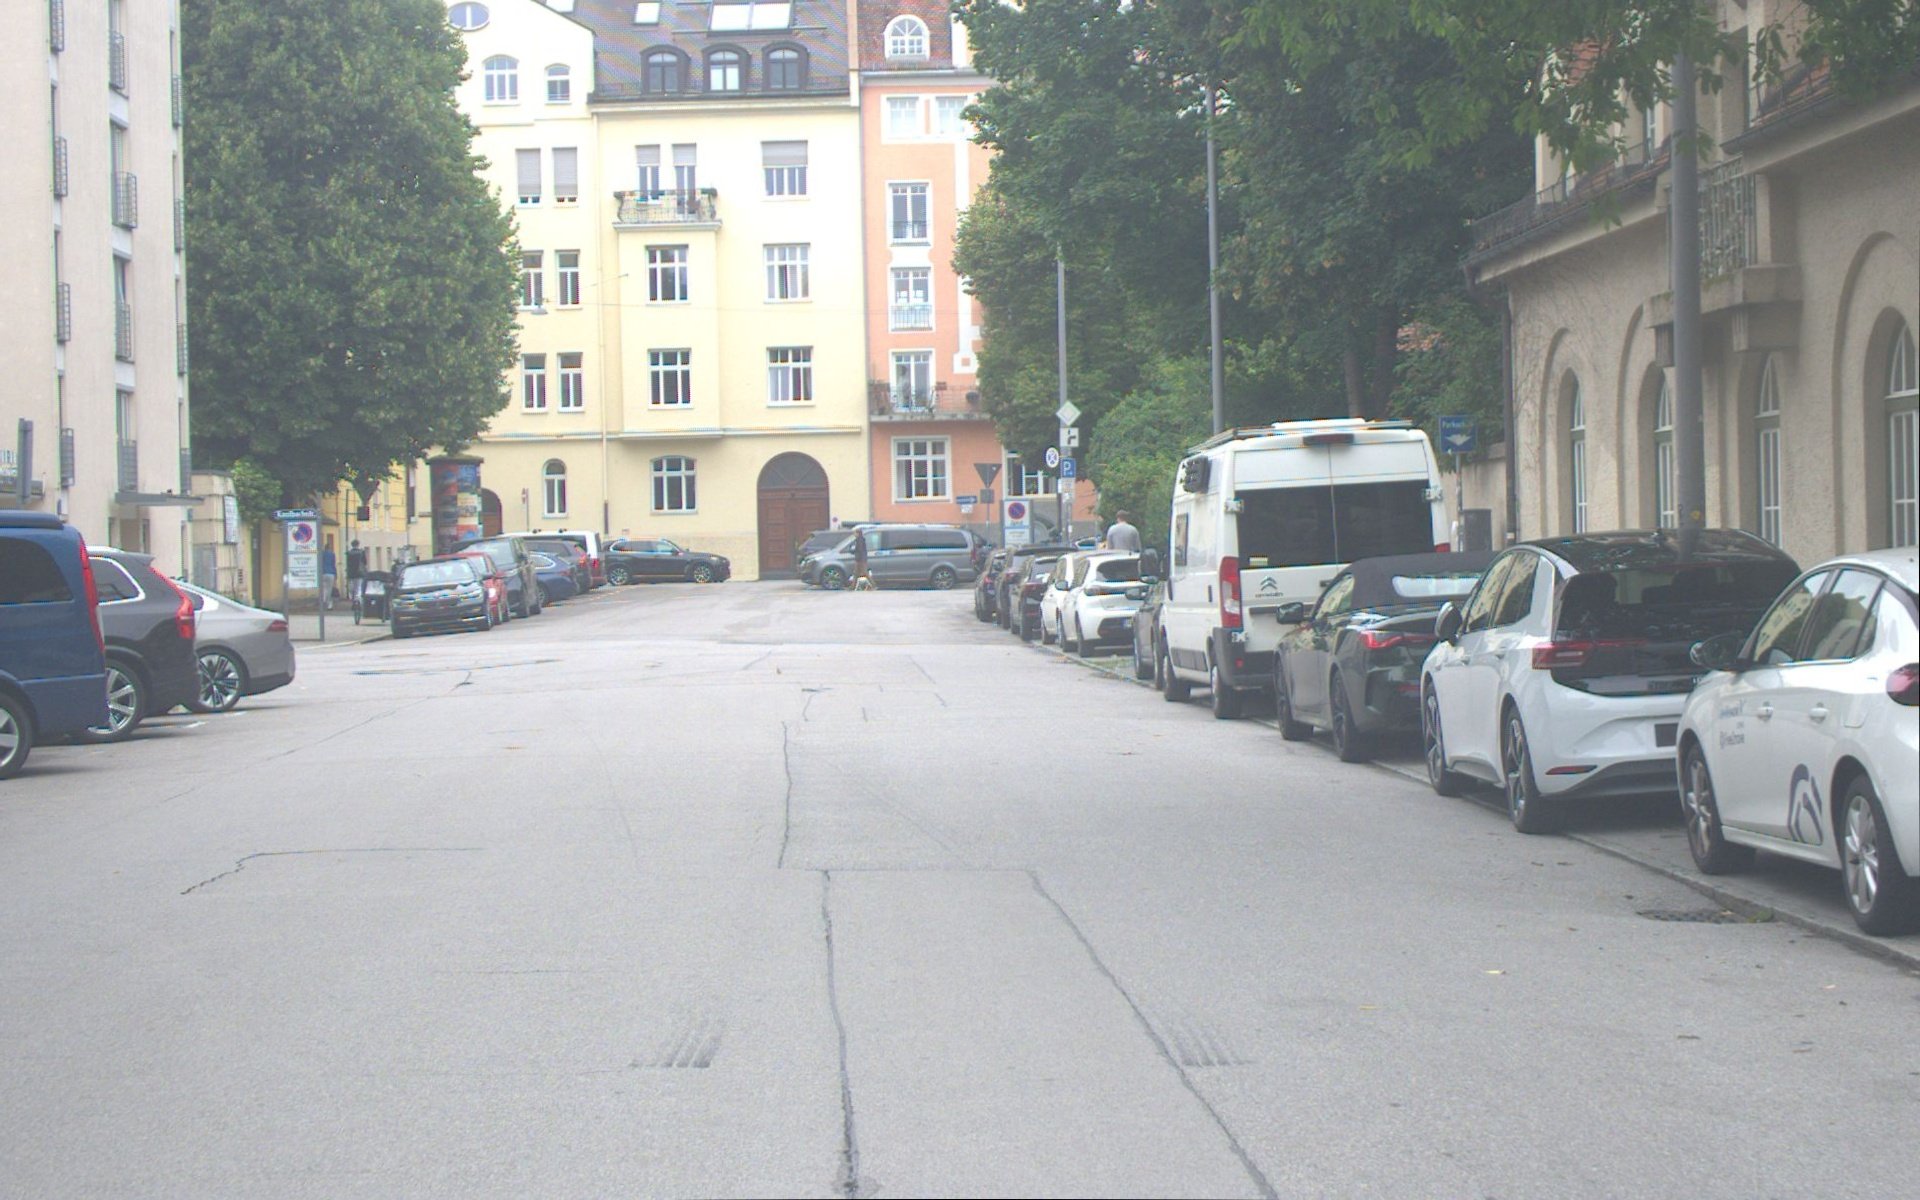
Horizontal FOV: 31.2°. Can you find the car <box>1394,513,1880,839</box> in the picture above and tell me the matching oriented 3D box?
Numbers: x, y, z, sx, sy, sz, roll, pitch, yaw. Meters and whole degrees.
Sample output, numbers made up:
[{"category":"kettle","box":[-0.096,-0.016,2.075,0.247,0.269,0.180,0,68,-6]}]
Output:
[{"category":"car","box":[3.646,0.340,19.272,1.707,1.532,4.240,-3,1,-1]}]

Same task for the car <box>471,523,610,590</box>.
[{"category":"car","box":[-12.956,-1.349,106.337,3.987,1.793,1.840,-4,1,-2]}]

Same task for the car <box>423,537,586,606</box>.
[{"category":"car","box":[-11.849,-0.755,89.616,3.987,1.503,1.840,-4,1,-2]}]

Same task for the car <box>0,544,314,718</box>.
[{"category":"car","box":[-9.055,0.321,35.965,4.107,1.604,1.737,-3,2,-34]}]

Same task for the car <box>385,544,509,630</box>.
[{"category":"car","box":[-10.037,-0.287,67.518,1.834,1.503,4.000,-4,1,-2]}]

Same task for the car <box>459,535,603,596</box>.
[{"category":"car","box":[-12.650,-1.021,101.559,3.987,1.503,1.840,-4,1,-2]}]

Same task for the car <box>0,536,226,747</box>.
[{"category":"car","box":[-8.670,0.399,29.754,4.106,1.702,1.737,-3,1,-32]}]

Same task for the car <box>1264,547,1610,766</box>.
[{"category":"car","box":[3.371,0.344,25.062,1.707,1.364,4.441,-3,1,-2]}]

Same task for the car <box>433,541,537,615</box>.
[{"category":"car","box":[-10.794,-0.529,78.351,1.834,1.503,4.000,-4,1,-2]}]

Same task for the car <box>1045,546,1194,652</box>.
[{"category":"car","box":[2.288,-0.049,50.266,1.707,1.403,4.131,-3,1,-3]}]

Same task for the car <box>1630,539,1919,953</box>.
[{"category":"car","box":[4.063,0.474,14.143,1.685,1.436,4.000,-2,1,-1]}]

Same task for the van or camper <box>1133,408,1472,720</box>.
[{"category":"van or camper","box":[3.044,-0.359,31.911,2.192,2.541,5.729,-3,1,-3]}]

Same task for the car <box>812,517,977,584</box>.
[{"category":"car","box":[-1.924,-1.430,99.931,4.703,1.874,1.840,-1,1,-4]}]

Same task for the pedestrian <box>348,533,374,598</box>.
[{"category":"pedestrian","box":[-15.365,-0.884,88.240,0.571,1.651,0.465,-1,1,-2]}]

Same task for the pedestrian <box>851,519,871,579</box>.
[{"category":"pedestrian","box":[-2.769,-1.427,95.941,0.463,1.651,0.573,-1,1,-7]}]

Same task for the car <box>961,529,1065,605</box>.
[{"category":"car","box":[1.046,-0.685,69.824,1.670,1.339,3.839,-3,3,-5]}]

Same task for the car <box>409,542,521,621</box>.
[{"category":"car","box":[-10.546,-0.419,73.458,1.834,1.503,4.000,-4,1,-2]}]

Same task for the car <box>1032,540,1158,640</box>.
[{"category":"car","box":[2.133,-0.188,55.205,1.707,1.461,3.838,-3,1,-1]}]

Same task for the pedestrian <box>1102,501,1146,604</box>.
[{"category":"pedestrian","box":[3.228,-0.934,67.743,0.773,2.007,0.563,-1,1,-2]}]

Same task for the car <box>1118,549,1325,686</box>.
[{"category":"car","box":[2.857,0.153,38.324,1.707,1.364,4.131,-3,1,-3]}]

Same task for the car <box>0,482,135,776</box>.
[{"category":"car","box":[-8.283,0.285,24.615,4.204,2.059,1.737,-3,1,-31]}]

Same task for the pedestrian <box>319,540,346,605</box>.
[{"category":"pedestrian","box":[-16.088,-0.719,88.132,0.571,1.651,0.465,-1,1,-2]}]

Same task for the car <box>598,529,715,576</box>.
[{"category":"car","box":[-10.768,-1.690,122.174,3.987,1.581,1.703,-1,1,-1]}]

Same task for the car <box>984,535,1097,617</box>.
[{"category":"car","box":[1.490,-0.473,64.918,1.670,1.339,3.839,-3,3,-5]}]

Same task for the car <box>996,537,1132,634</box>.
[{"category":"car","box":[1.773,-0.280,59.488,1.803,1.461,3.839,-3,3,-6]}]
